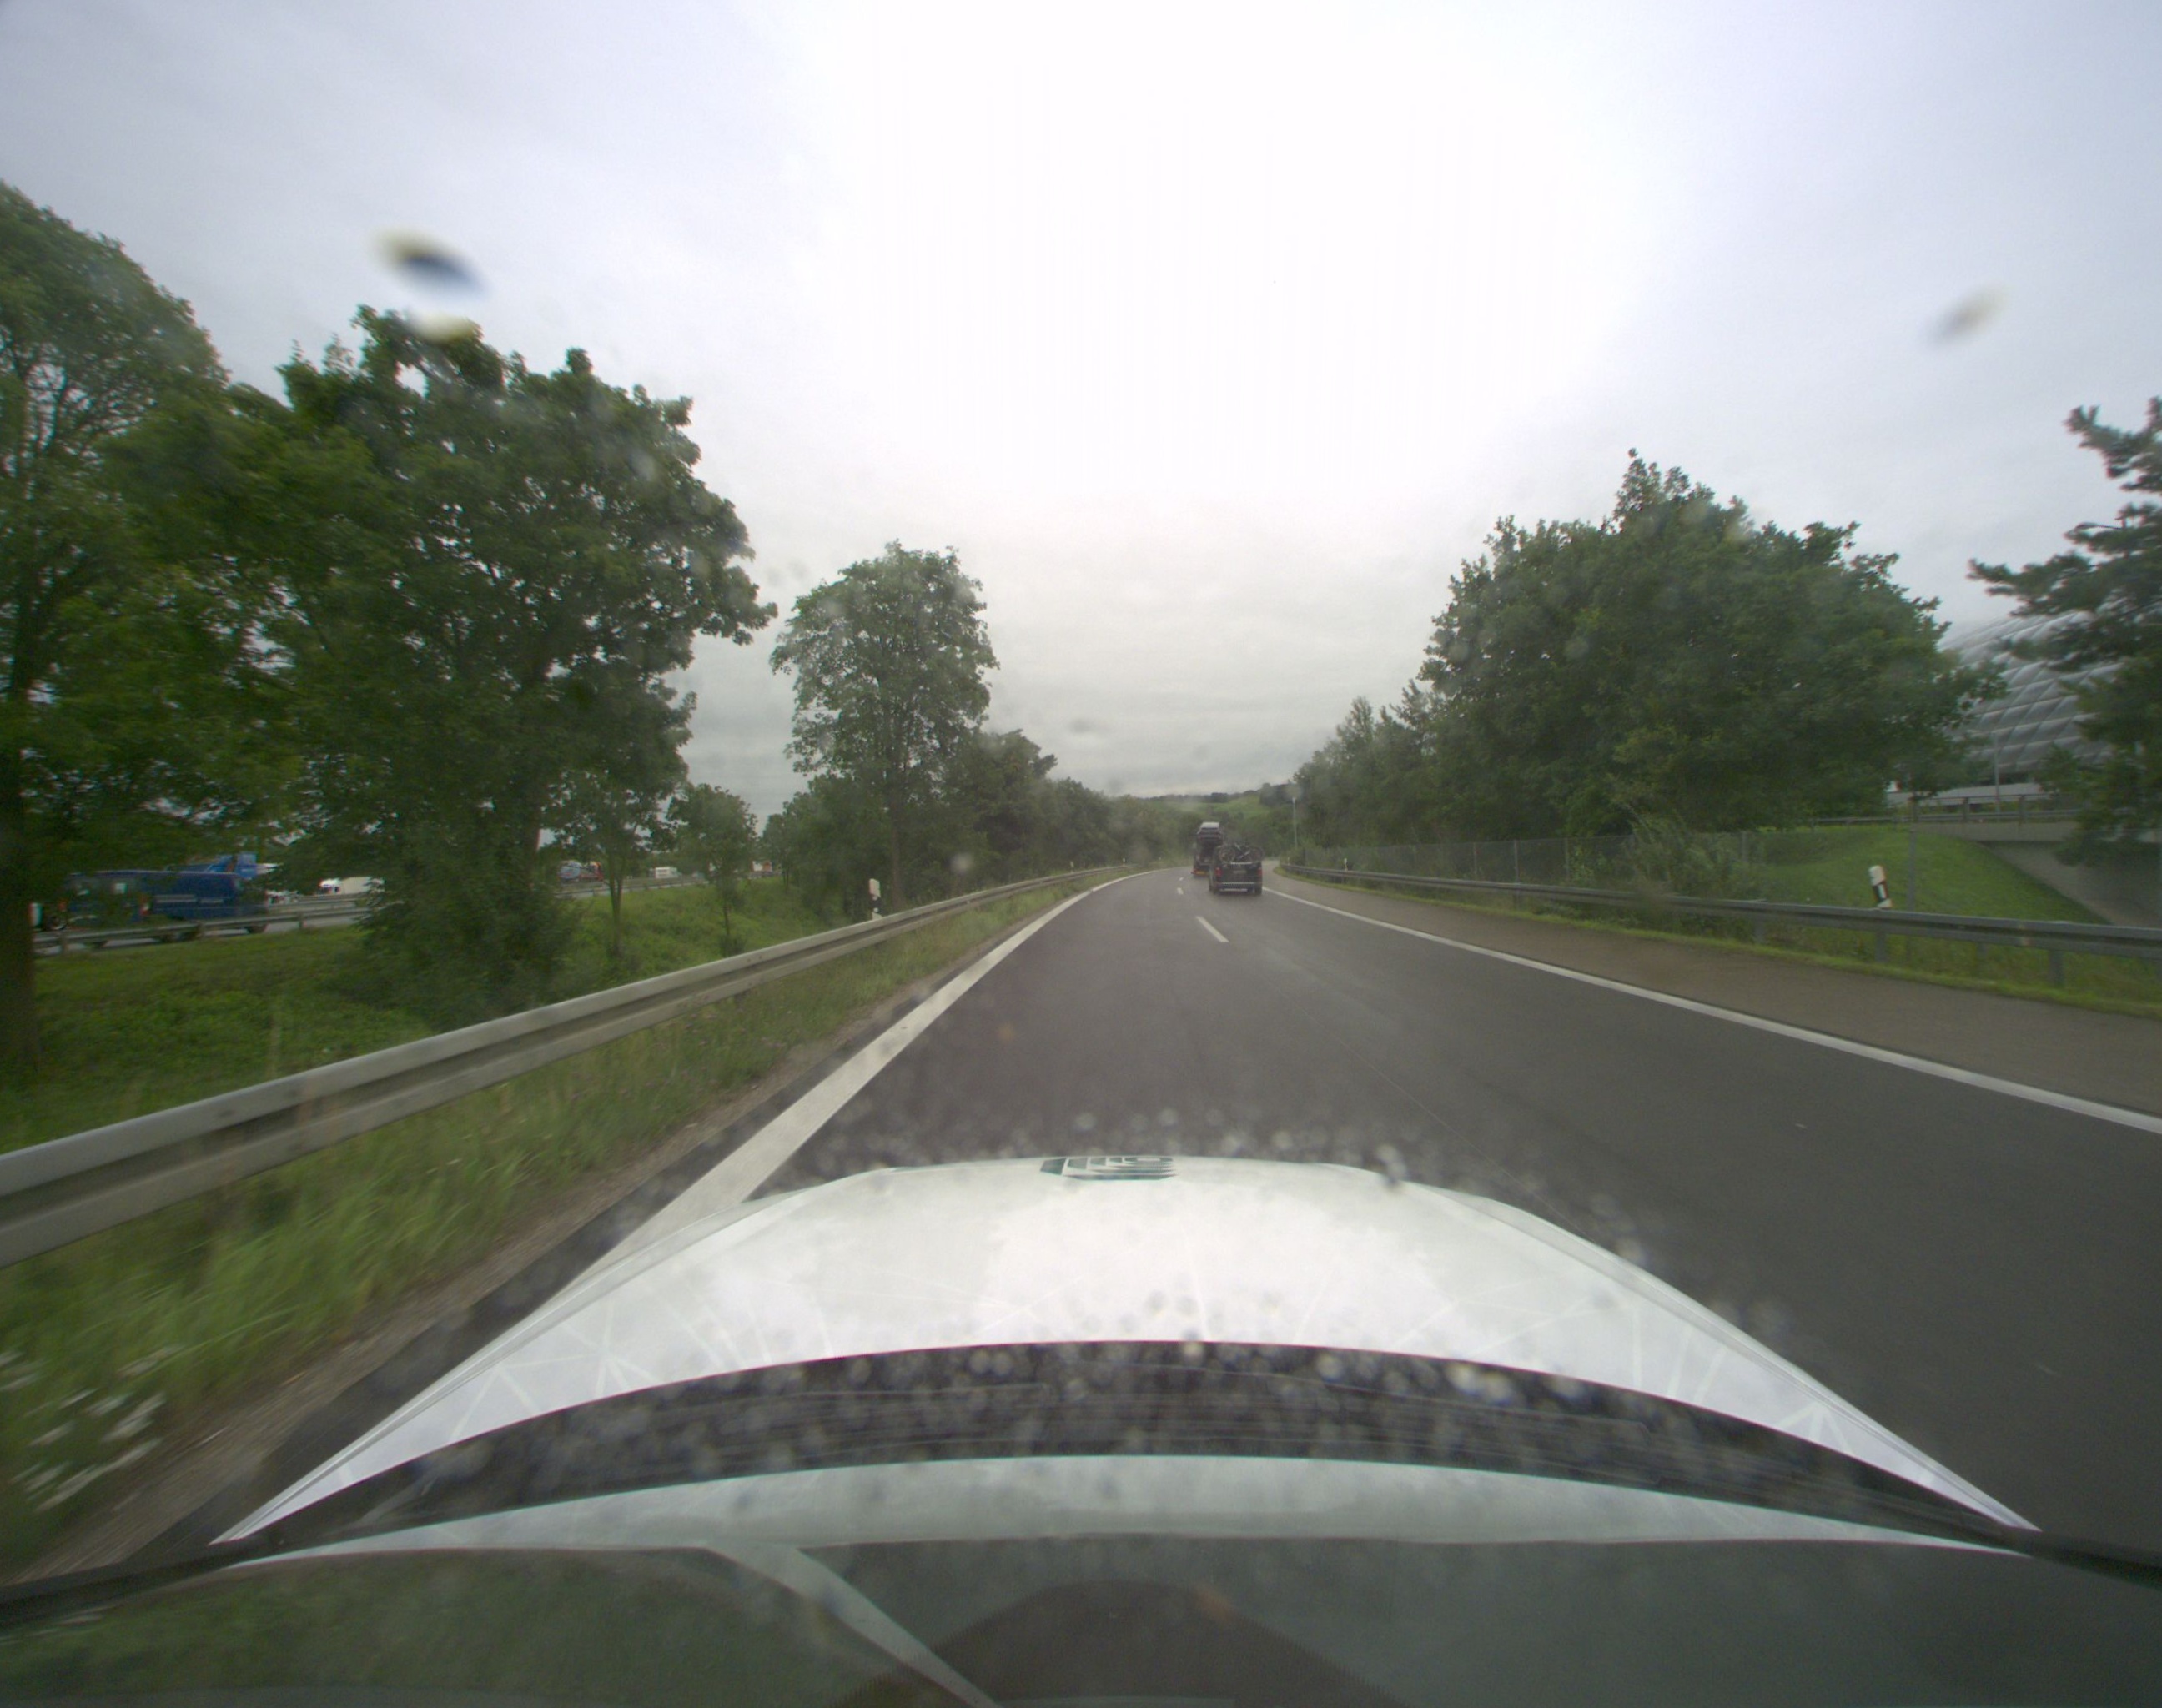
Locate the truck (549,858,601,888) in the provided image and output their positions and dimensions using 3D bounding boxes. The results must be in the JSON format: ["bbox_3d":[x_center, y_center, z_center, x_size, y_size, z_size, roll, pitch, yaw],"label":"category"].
[{"bbox_3d":[-61.366,2.266,99.064,2.862,3.365,8.587,-2,0,-15],"label":"truck"}]

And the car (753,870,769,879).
[{"bbox_3d":[-57.609,3.667,146.734,1.965,1.637,5.596,-2,-1,-15],"label":"car"}]

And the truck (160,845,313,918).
[{"bbox_3d":[-48.478,1.495,47.097,2.643,3.812,7.305,-1,-1,-15],"label":"truck"}]

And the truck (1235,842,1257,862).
[{"bbox_3d":[22.831,-0.324,112.230,2.630,2.605,6.443,-2,0,13],"label":"truck"}]

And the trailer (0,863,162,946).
[{"bbox_3d":[-27.732,1.271,20.564,2.489,1.994,7.027,-2,0,-15],"label":"trailer"}]

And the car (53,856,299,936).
[{"bbox_3d":[-29.437,1.244,26.937,2.377,2.266,6.224,-2,0,-15],"label":"car"}]

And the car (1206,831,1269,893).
[{"bbox_3d":[6.261,0.285,33.181,2.099,2.264,5.908,-1,0,7],"label":"car"}]

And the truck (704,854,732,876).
[{"bbox_3d":[-77.959,2.385,175.186,3.739,4.417,10.143,-1,0,-15],"label":"truck"}]

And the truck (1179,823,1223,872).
[{"bbox_3d":[10.645,-0.561,73.287,3.378,3.999,10.864,1,0,6],"label":"truck"}]

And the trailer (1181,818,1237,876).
[{"bbox_3d":[9.503,-0.503,61.817,3.432,3.999,12.046,1,0,6],"label":"trailer"}]
